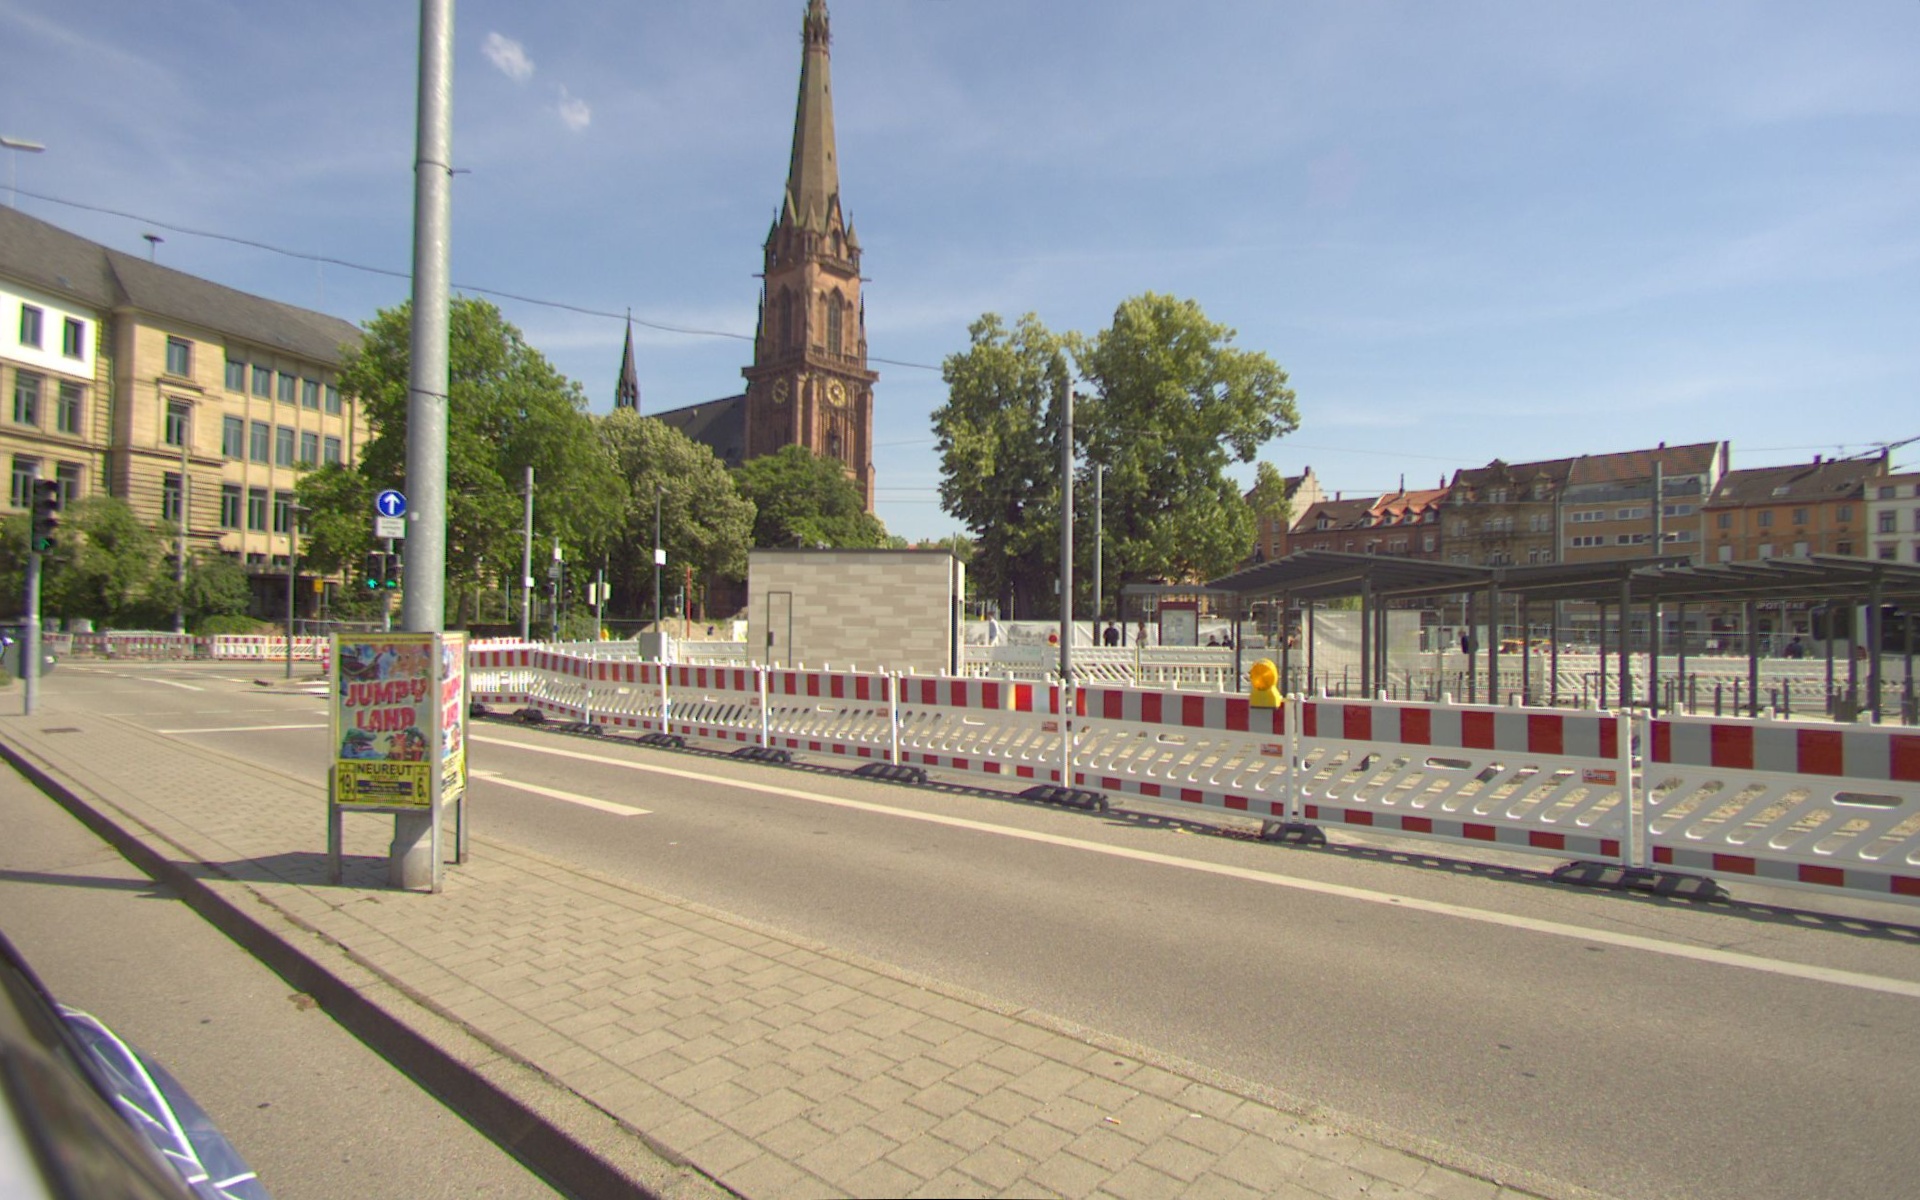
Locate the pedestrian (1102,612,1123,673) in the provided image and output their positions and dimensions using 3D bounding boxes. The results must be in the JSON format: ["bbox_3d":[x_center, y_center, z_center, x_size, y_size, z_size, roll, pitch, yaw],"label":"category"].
[{"bbox_3d":[5.237,1.455,34.743,0.678,2.029,0.819,0,-2,7],"label":"pedestrian"}]

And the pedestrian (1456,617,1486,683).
[{"bbox_3d":[15.952,1.560,31.591,0.680,2.029,0.816,0,-2,16],"label":"pedestrian"}]

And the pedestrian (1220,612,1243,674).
[{"bbox_3d":[9.082,1.429,33.892,0.679,2.029,0.818,0,-2,11],"label":"pedestrian"}]

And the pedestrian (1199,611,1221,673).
[{"bbox_3d":[8.394,1.414,34.017,0.679,2.029,0.818,0,-2,11],"label":"pedestrian"}]

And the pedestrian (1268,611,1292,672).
[{"bbox_3d":[10.863,1.406,34.366,0.679,2.029,0.818,0,-2,11],"label":"pedestrian"}]

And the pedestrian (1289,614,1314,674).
[{"bbox_3d":[11.667,1.491,34.567,0.679,2.029,0.818,0,-2,11],"label":"pedestrian"}]

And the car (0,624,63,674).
[{"bbox_3d":[-30.988,1.587,33.309,3.630,1.586,1.644,-1,-3,41],"label":"car"}]

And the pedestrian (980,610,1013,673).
[{"bbox_3d":[1.205,1.368,33.253,0.686,2.029,0.809,-1,-3,43],"label":"pedestrian"}]

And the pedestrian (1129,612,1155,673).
[{"bbox_3d":[6.224,1.451,34.636,0.810,2.029,0.685,1,-2,6],"label":"pedestrian"}]
